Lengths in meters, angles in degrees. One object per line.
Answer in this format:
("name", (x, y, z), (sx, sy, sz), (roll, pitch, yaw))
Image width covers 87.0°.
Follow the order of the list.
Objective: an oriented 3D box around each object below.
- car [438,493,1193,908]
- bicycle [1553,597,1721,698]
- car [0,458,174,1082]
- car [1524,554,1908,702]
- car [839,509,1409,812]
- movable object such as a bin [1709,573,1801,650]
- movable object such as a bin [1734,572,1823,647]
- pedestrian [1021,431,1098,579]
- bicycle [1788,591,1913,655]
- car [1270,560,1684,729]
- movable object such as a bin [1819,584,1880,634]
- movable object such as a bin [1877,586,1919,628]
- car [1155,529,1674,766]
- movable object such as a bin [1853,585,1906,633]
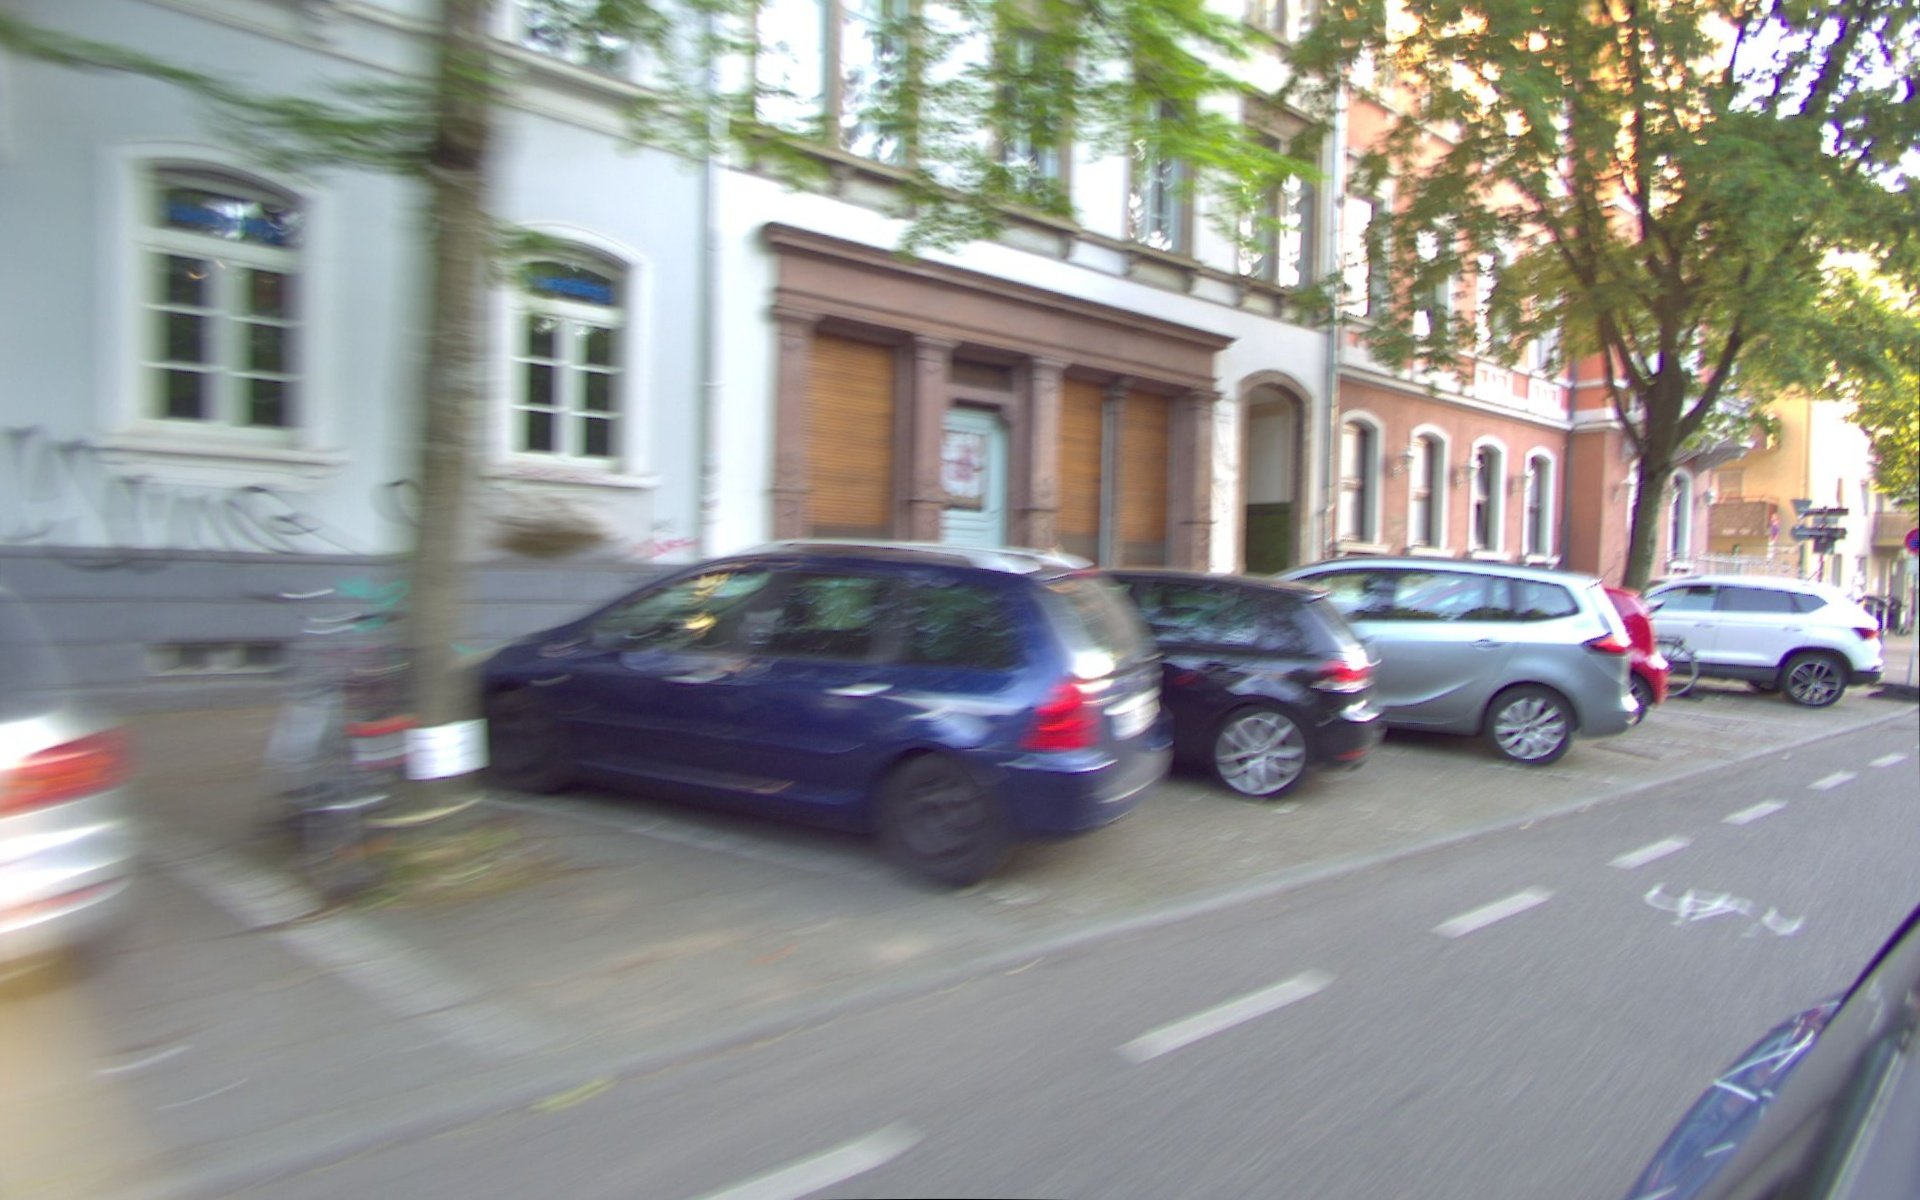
("car", (-0.812, 0.313, 5.853), (3.910, 1.622, 1.828), (5, 4, 22))
("bicycle", (8.509, 0.571, 12.799), (1.657, 1.088, 0.459), (5, 3, 31))
("car", (-4.370, 0.340, 3.341), (3.932, 1.623, 1.817), (4, 3, 36))
("car", (10.271, 0.297, 14.154), (3.912, 1.646, 1.661), (4, 2, 24))
("car", (1.237, 0.274, 7.812), (3.914, 1.622, 1.733), (6, 5, 24))
("movable object such as a bin", (16.251, 0.214, 20.692), (1.373, 1.520, 1.144), (0, 1, -37))
("movable object such as a bin", (17.399, 0.180, 21.513), (1.373, 1.520, 1.144), (0, 1, -37))
("pedestrian", (1.133, -1.061, 11.583), (0.613, 1.629, 0.588), (1, 1, -36))
("bicycle", (19.176, 0.480, 21.830), (1.894, 1.282, 0.598), (2, 1, 20))
("car", (5.800, 0.400, 11.801), (3.915, 1.495, 1.815), (4, 2, 25))
("movable object such as a bin", (28.328, 0.274, 32.234), (1.568, 1.520, 1.144), (0, 1, -37))
("movable object such as a bin", (34.636, 0.250, 37.190), (1.454, 1.520, 1.116), (0, 1, -37))
("car", (3.963, 0.282, 9.434), (3.907, 1.688, 1.890), (4, 4, 20))
("movable object such as a bin", (30.174, 0.270, 33.206), (1.295, 1.520, 1.075), (0, 1, -38))
